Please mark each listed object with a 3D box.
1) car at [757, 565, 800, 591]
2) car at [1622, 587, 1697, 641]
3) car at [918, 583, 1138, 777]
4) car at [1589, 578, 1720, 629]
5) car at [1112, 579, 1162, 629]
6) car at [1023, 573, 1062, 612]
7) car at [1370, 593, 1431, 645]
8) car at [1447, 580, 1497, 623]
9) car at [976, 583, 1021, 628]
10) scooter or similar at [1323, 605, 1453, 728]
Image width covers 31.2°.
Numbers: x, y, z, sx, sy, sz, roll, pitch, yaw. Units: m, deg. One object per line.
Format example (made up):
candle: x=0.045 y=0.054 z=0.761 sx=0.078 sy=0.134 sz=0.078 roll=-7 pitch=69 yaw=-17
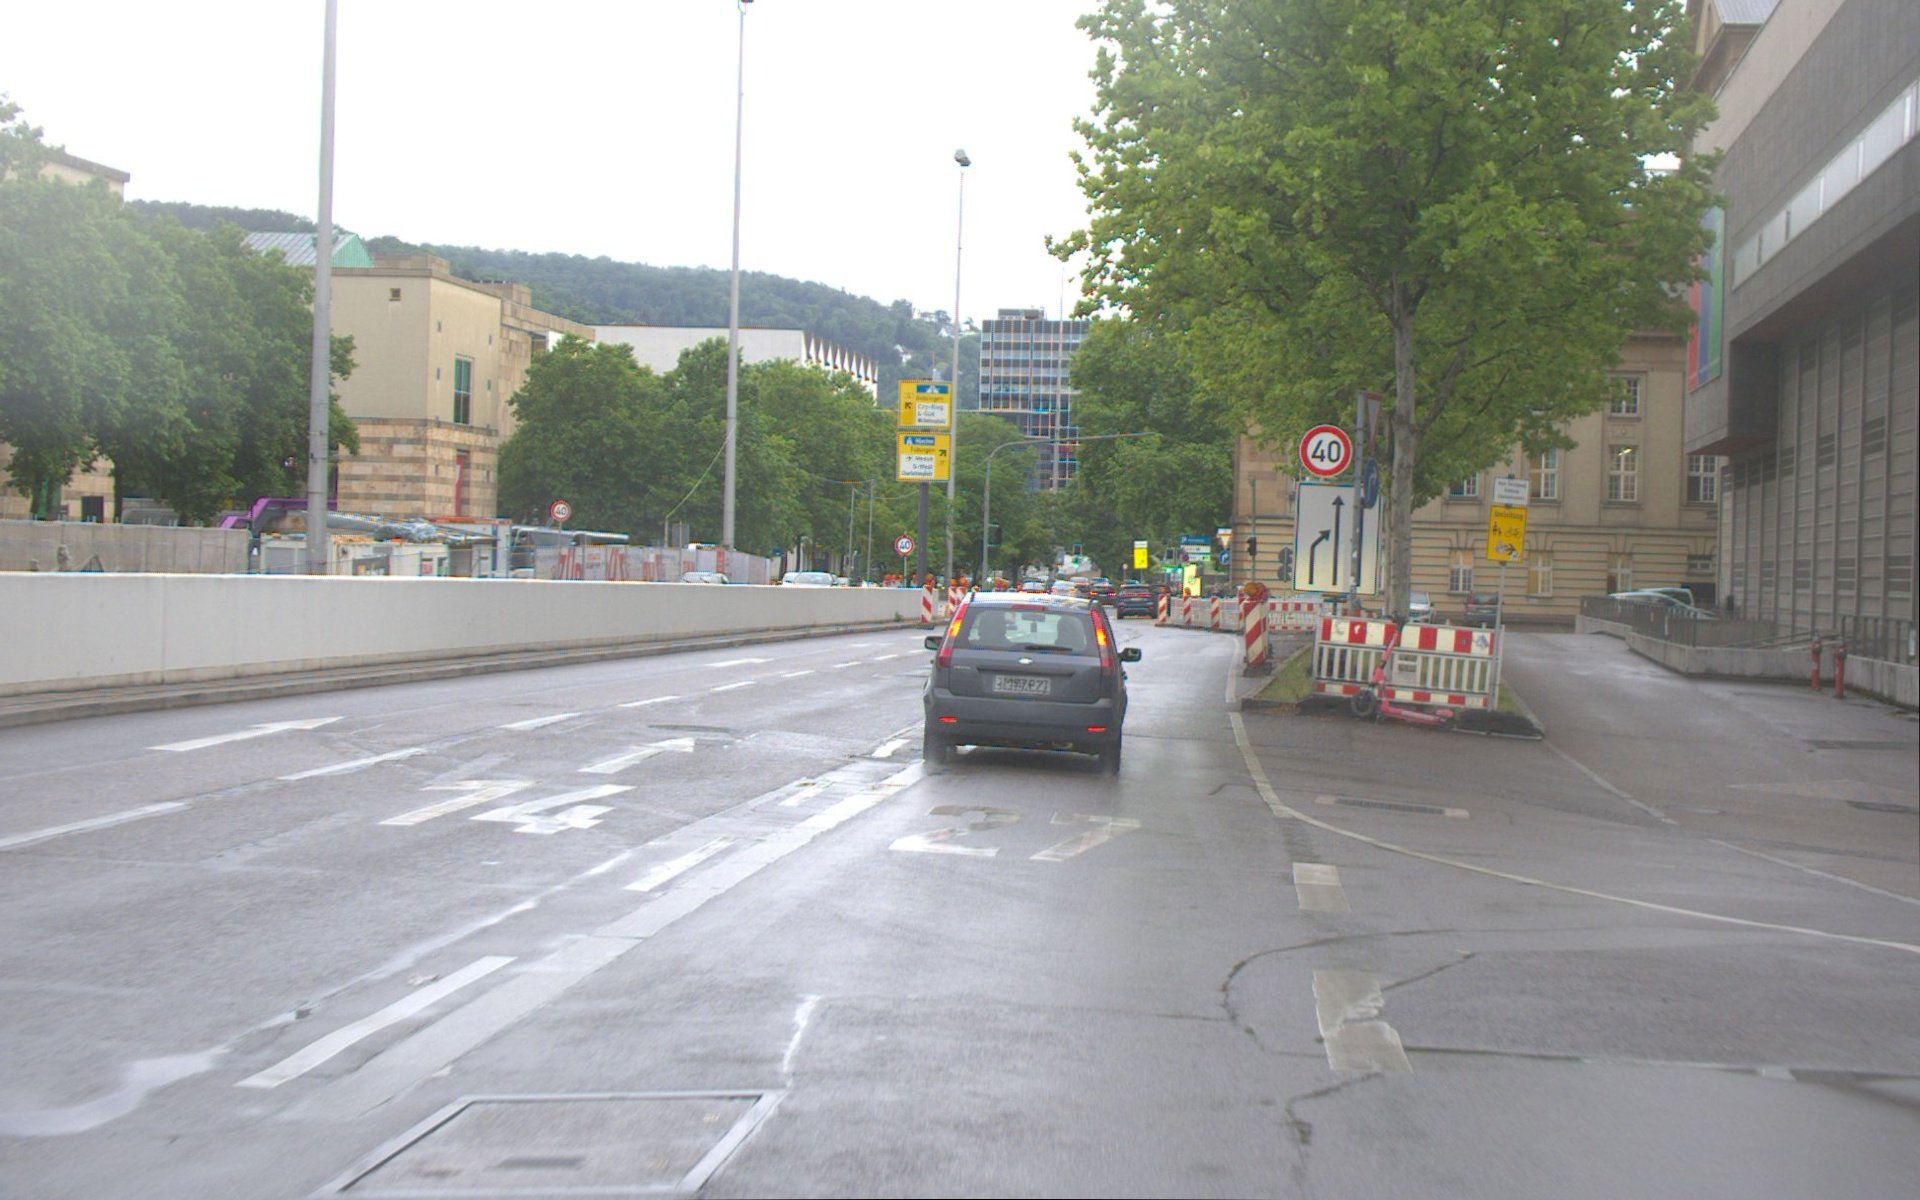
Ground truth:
car: x=-9.113 y=-1.114 z=172.884 sx=1.626 sy=1.191 sz=3.405 roll=4 pitch=1 yaw=5
car: x=24.346 y=0.509 z=119.752 sx=1.994 sy=1.754 sz=5.095 roll=1 pitch=-1 yaw=6
car: x=0.551 y=0.628 z=29.316 sx=1.670 sy=1.422 sz=3.758 roll=4 pitch=1 yaw=0
car: x=22.600 y=0.108 z=111.948 sx=3.988 sy=1.554 sz=1.932 roll=0 pitch=-2 yaw=6
car: x=7.848 y=0.164 z=152.464 sx=1.994 sy=2.006 sz=3.999 roll=3 pitch=1 yaw=5
car: x=4.583 y=-0.402 z=191.853 sx=1.993 sy=2.007 sz=4.000 roll=4 pitch=-1 yaw=0
car: x=16.281 y=0.689 z=126.992 sx=1.994 sy=1.702 sz=3.998 roll=3 pitch=1 yaw=10
car: x=22.099 y=0.081 z=148.276 sx=1.994 sy=1.703 sz=3.998 roll=3 pitch=0 yaw=10
car: x=1.229 y=0.163 z=108.950 sx=1.385 sy=1.382 sz=3.067 roll=1 pitch=0 yaw=1
scooter or similar: x=4.811 y=0.751 z=38.686 sx=1.356 sy=1.281 sz=0.619 roll=4 pitch=-1 yaw=7
